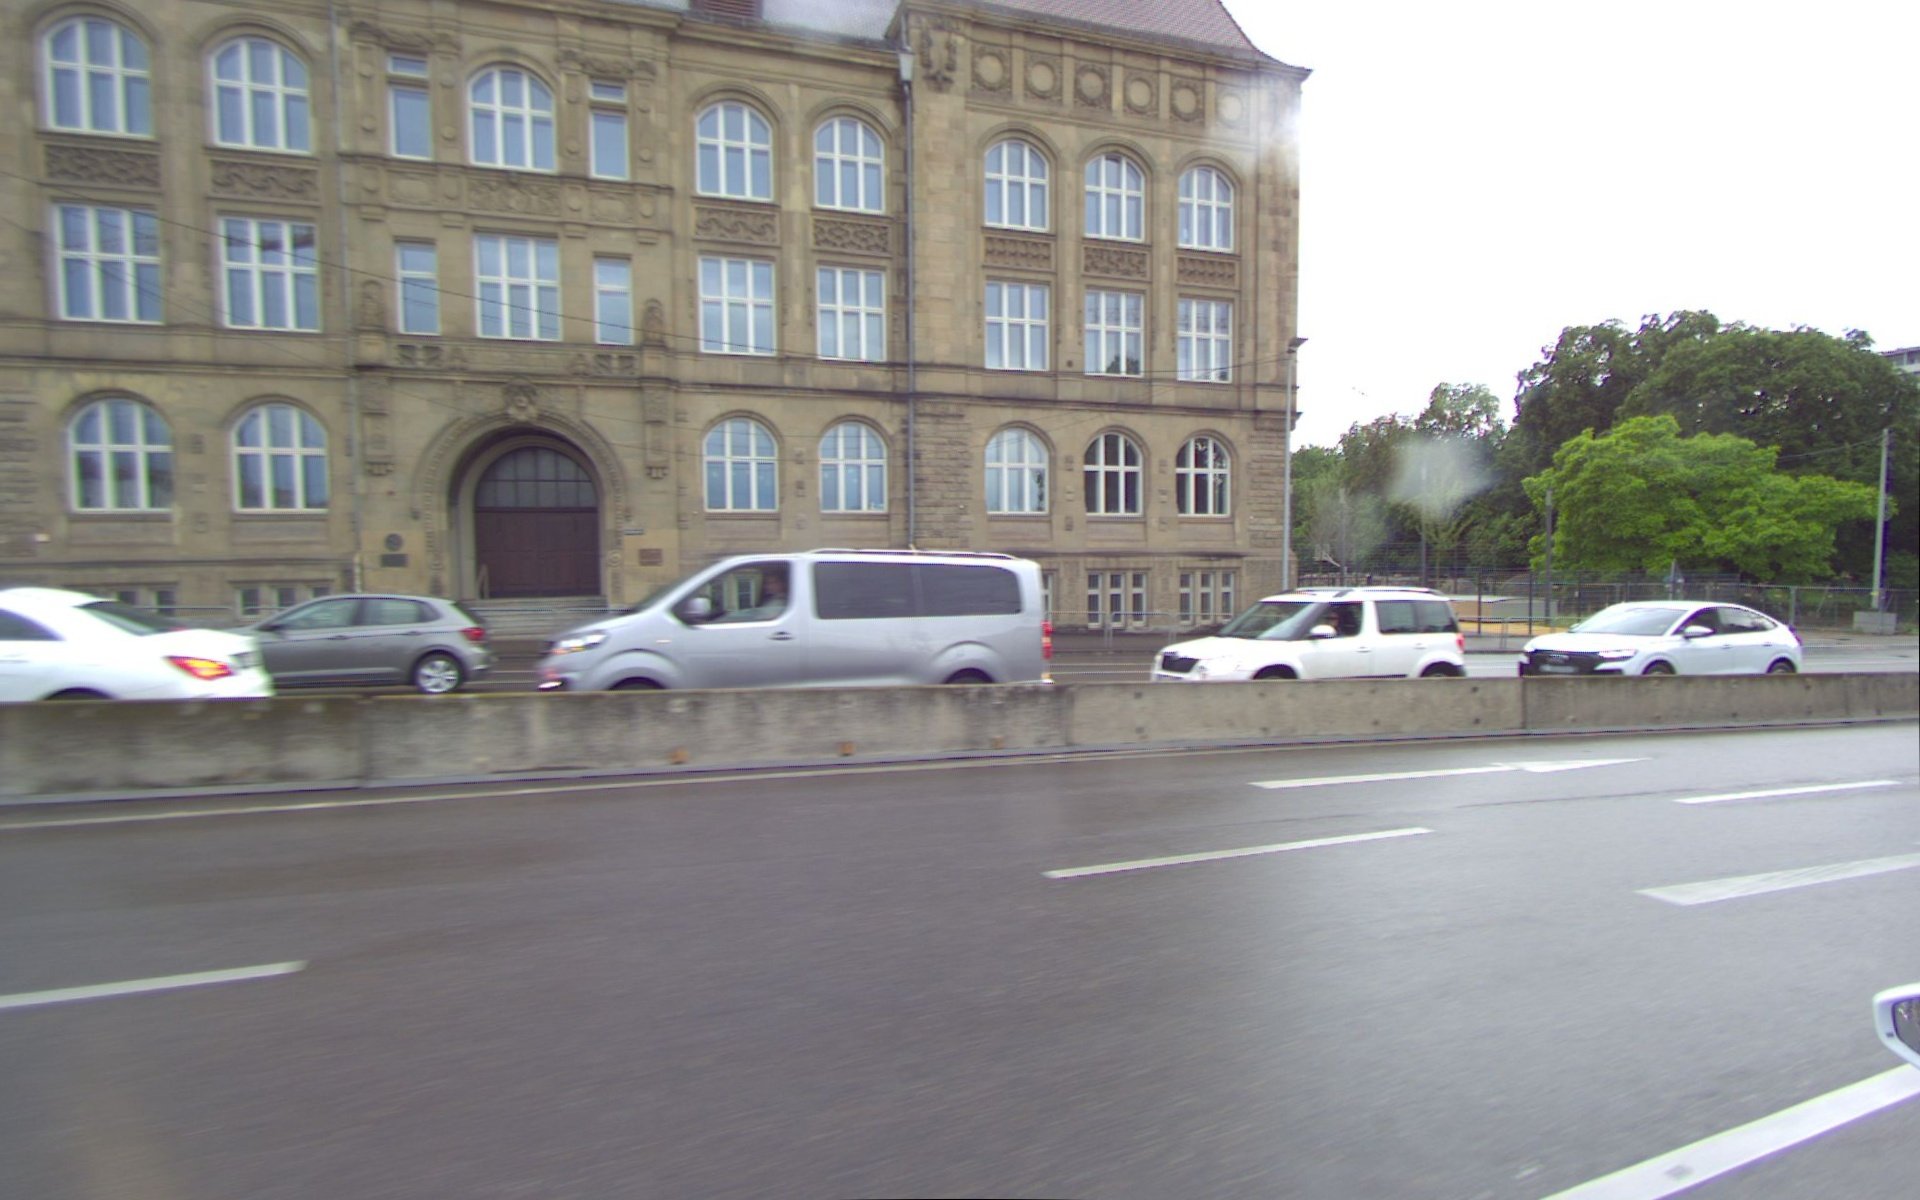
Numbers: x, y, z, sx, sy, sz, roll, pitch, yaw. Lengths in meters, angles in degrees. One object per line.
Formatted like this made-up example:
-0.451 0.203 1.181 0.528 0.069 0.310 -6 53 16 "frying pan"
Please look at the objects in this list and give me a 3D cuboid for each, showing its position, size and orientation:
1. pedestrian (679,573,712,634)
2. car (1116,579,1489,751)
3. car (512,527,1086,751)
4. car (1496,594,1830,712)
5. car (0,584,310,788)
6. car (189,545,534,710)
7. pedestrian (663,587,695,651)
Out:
-7.076 0.089 26.850 0.725 1.605 0.614 1 0 -27 "pedestrian"
4.335 0.737 12.756 4.315 1.891 1.905 1 0 -22 "car"
-1.591 0.360 10.462 5.514 1.891 1.989 1 0 -22 "car"
10.724 0.745 15.314 4.827 1.588 1.890 1 0 -22 "car"
-8.245 0.633 8.078 4.753 1.522 1.989 1 0 -23 "car"
-8.297 0.366 14.302 3.951 2.040 1.985 1 0 -29 "car"
-7.185 0.481 25.689 0.723 1.605 0.615 1 0 -20 "pedestrian"
